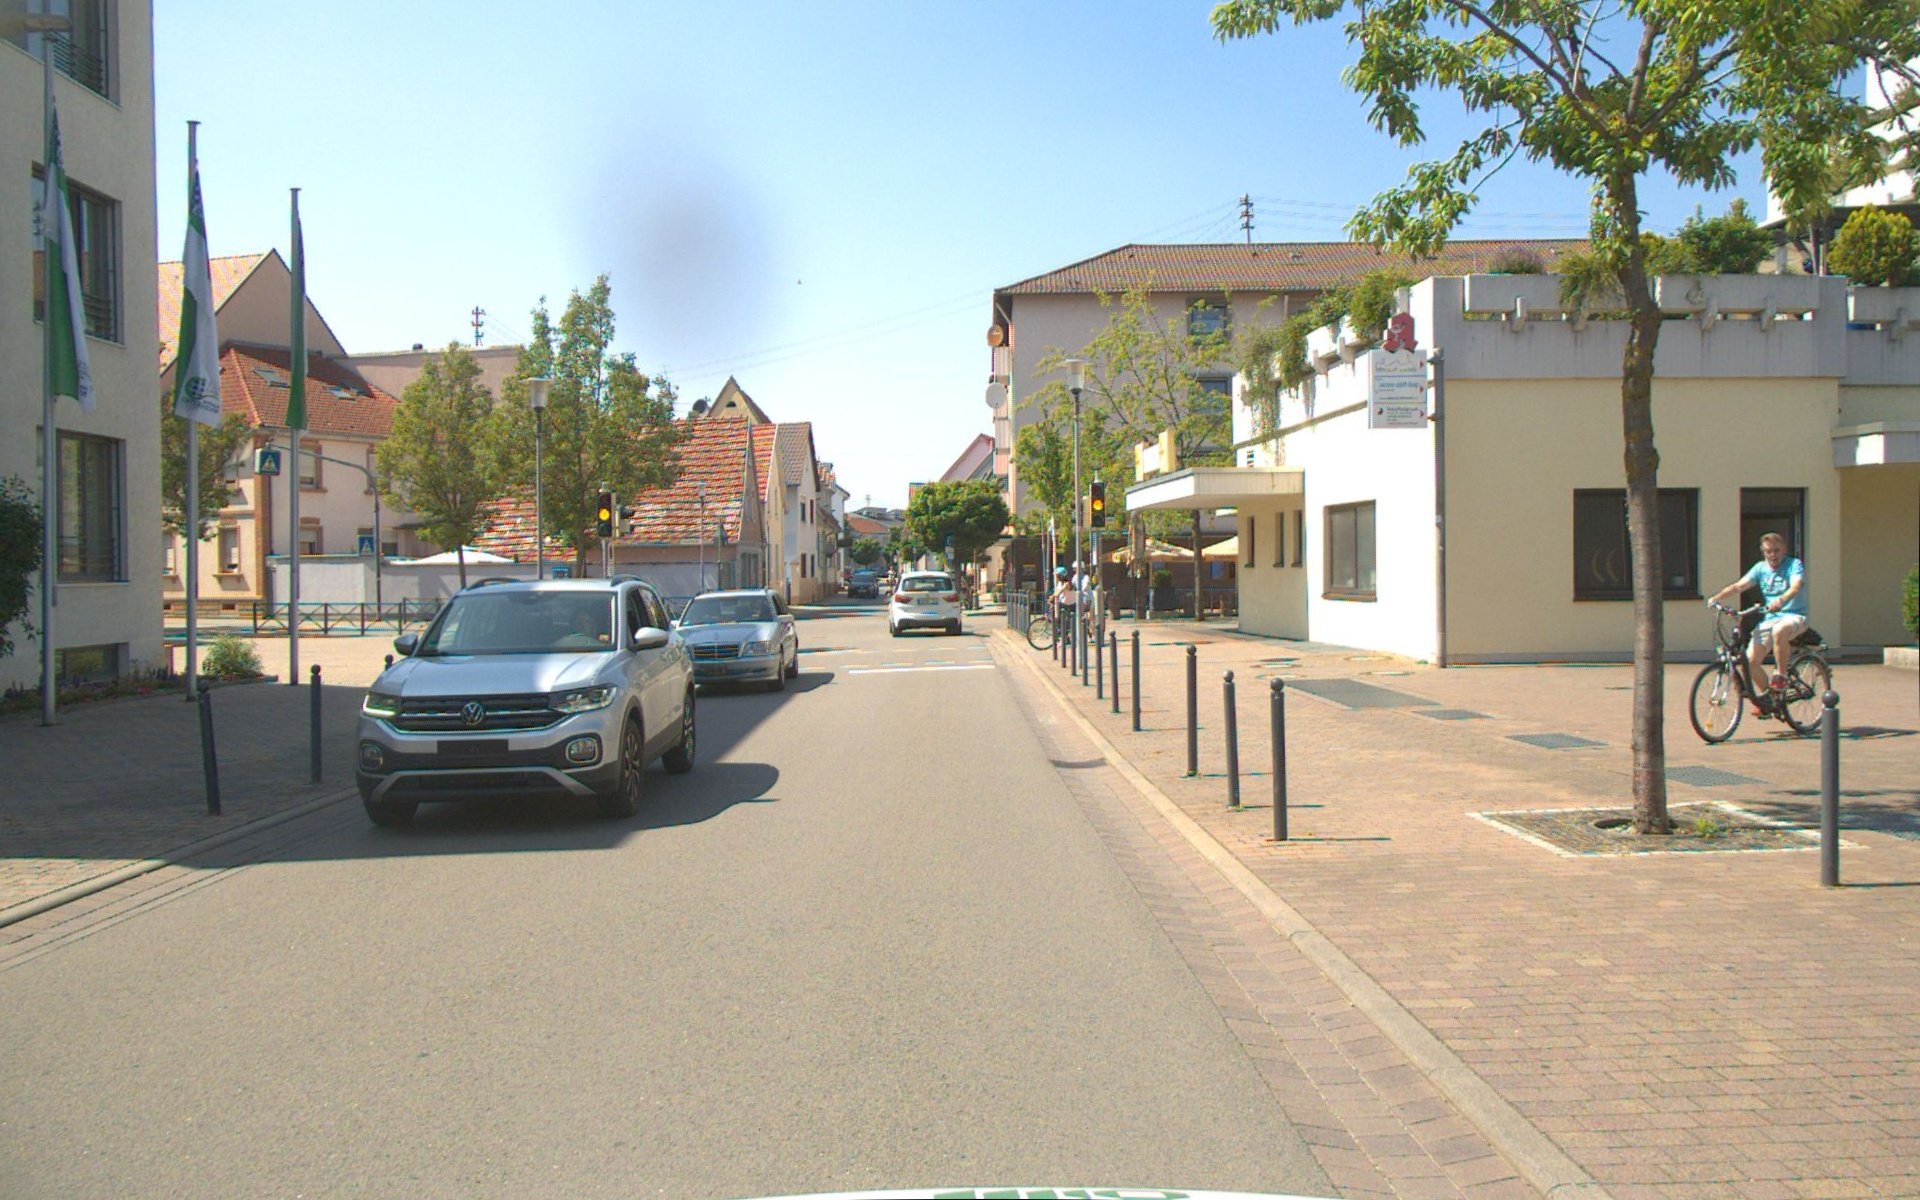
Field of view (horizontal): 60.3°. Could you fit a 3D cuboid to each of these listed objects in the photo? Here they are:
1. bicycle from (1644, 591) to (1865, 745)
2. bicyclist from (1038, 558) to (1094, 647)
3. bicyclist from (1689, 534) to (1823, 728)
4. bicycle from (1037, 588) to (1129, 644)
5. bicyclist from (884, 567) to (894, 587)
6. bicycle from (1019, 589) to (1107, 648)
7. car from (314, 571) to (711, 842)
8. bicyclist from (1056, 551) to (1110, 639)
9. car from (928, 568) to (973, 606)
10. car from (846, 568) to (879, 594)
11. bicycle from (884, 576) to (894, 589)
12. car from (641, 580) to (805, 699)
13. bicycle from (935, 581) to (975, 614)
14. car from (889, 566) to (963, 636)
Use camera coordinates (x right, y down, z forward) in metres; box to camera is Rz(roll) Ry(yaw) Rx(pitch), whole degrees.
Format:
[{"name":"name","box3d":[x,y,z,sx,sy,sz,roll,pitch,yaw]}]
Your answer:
[{"name":"bicycle","box3d":[6.677,0.534,13.879,1.868,1.128,0.670,-3,2,-28]},{"name":"bicyclist","box3d":[1.993,0.049,31.136,0.658,1.609,0.758,-2,2,40]},{"name":"bicyclist","box3d":[6.678,0.240,13.882,0.750,1.553,0.665,-3,2,-27]},{"name":"bicycle","box3d":[2.452,0.311,32.765,1.880,0.974,0.666,-4,2,-41]},{"name":"bicyclist","box3d":[-5.568,-1.811,129.738,0.659,1.508,0.771,-1,1,2]},{"name":"bicycle","box3d":[1.946,0.347,31.085,0.663,0.974,1.887,-2,2,39]},{"name":"car","box3d":[-3.007,0.607,12.011,1.813,1.601,4.000,-1,1,-1]},{"name":"bicyclist","box3d":[2.435,-0.106,32.755,0.755,1.693,0.661,-4,2,-41]},{"name":"car","box3d":[-0.384,-0.569,71.515,1.767,1.527,4.001,-1,2,1]},{"name":"car","box3d":[-6.010,-1.207,102.342,1.678,1.543,3.787,-1,1,1]},{"name":"bicycle","box3d":[-5.579,-1.375,129.667,0.650,1.023,1.898,-1,1,2]},{"name":"car","box3d":[-3.463,0.512,24.962,1.842,1.489,4.435,-3,1,-1]},{"name":"bicycle","box3d":[-0.207,-0.106,62.901,0.523,1.214,1.648,-2,1,-43]},{"name":"car","box3d":[-0.905,-0.012,42.897,1.797,1.680,3.998,-1,1,-2]}]
